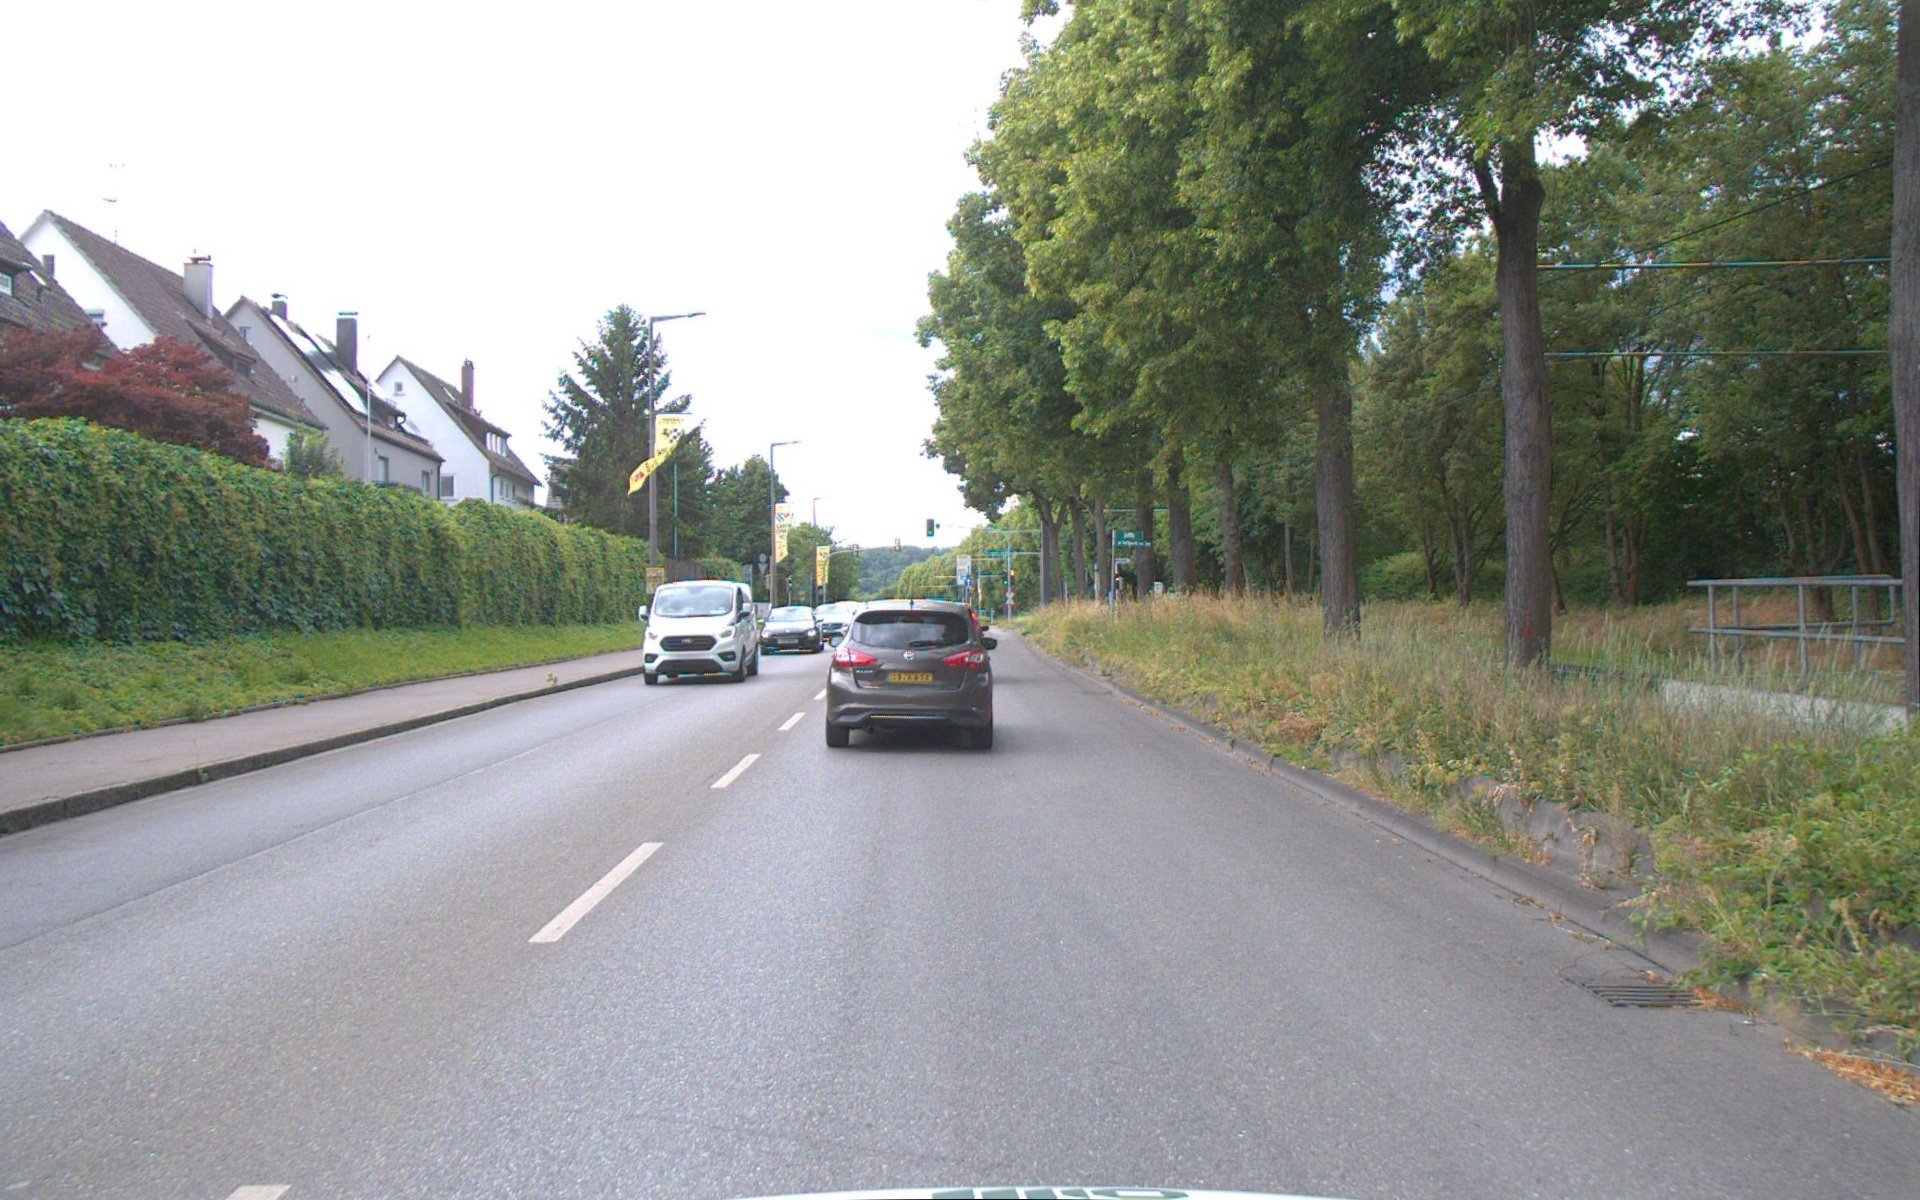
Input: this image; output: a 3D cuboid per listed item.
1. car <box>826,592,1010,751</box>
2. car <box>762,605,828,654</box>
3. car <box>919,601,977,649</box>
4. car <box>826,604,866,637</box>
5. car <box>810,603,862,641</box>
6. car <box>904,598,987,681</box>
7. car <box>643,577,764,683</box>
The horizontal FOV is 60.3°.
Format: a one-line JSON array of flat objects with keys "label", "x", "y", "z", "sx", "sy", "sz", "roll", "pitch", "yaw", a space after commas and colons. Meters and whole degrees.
[{"label": "car", "x": -0.448, "y": 0.708, "z": 18.588, "sx": 1.798, "sy": 1.545, "sz": 4.482, "roll": 1, "pitch": 0, "yaw": -1}, {"label": "car", "x": -4.974, "y": 0.870, "z": 50.363, "sx": 1.617, "sy": 1.371, "sz": 4.476, "roll": -2, "pitch": 0, "yaw": -1}, {"label": "car", "x": -0.392, "y": 0.757, "z": 52.105, "sx": 1.755, "sy": 1.421, "sz": 3.999, "roll": -1, "pitch": 0, "yaw": -1}, {"label": "car", "x": -5.636, "y": 0.996, "z": 82.004, "sx": 1.716, "sy": 1.545, "sz": 3.999, "roll": -3, "pitch": 0, "yaw": -2}, {"label": "car", "x": -4.928, "y": 0.845, "z": 66.184, "sx": 1.848, "sy": 1.407, "sz": 4.489, "roll": -2, "pitch": 0, "yaw": -2}, {"label": "car", "x": -0.296, "y": 0.728, "z": 32.060, "sx": 1.507, "sy": 1.504, "sz": 3.763, "roll": 0, "pitch": 0, "yaw": -1}, {"label": "car", "x": -5.162, "y": 0.572, "z": 33.827, "sx": 1.868, "sy": 1.966, "sz": 4.908, "roll": -2, "pitch": 0, "yaw": -3}]
